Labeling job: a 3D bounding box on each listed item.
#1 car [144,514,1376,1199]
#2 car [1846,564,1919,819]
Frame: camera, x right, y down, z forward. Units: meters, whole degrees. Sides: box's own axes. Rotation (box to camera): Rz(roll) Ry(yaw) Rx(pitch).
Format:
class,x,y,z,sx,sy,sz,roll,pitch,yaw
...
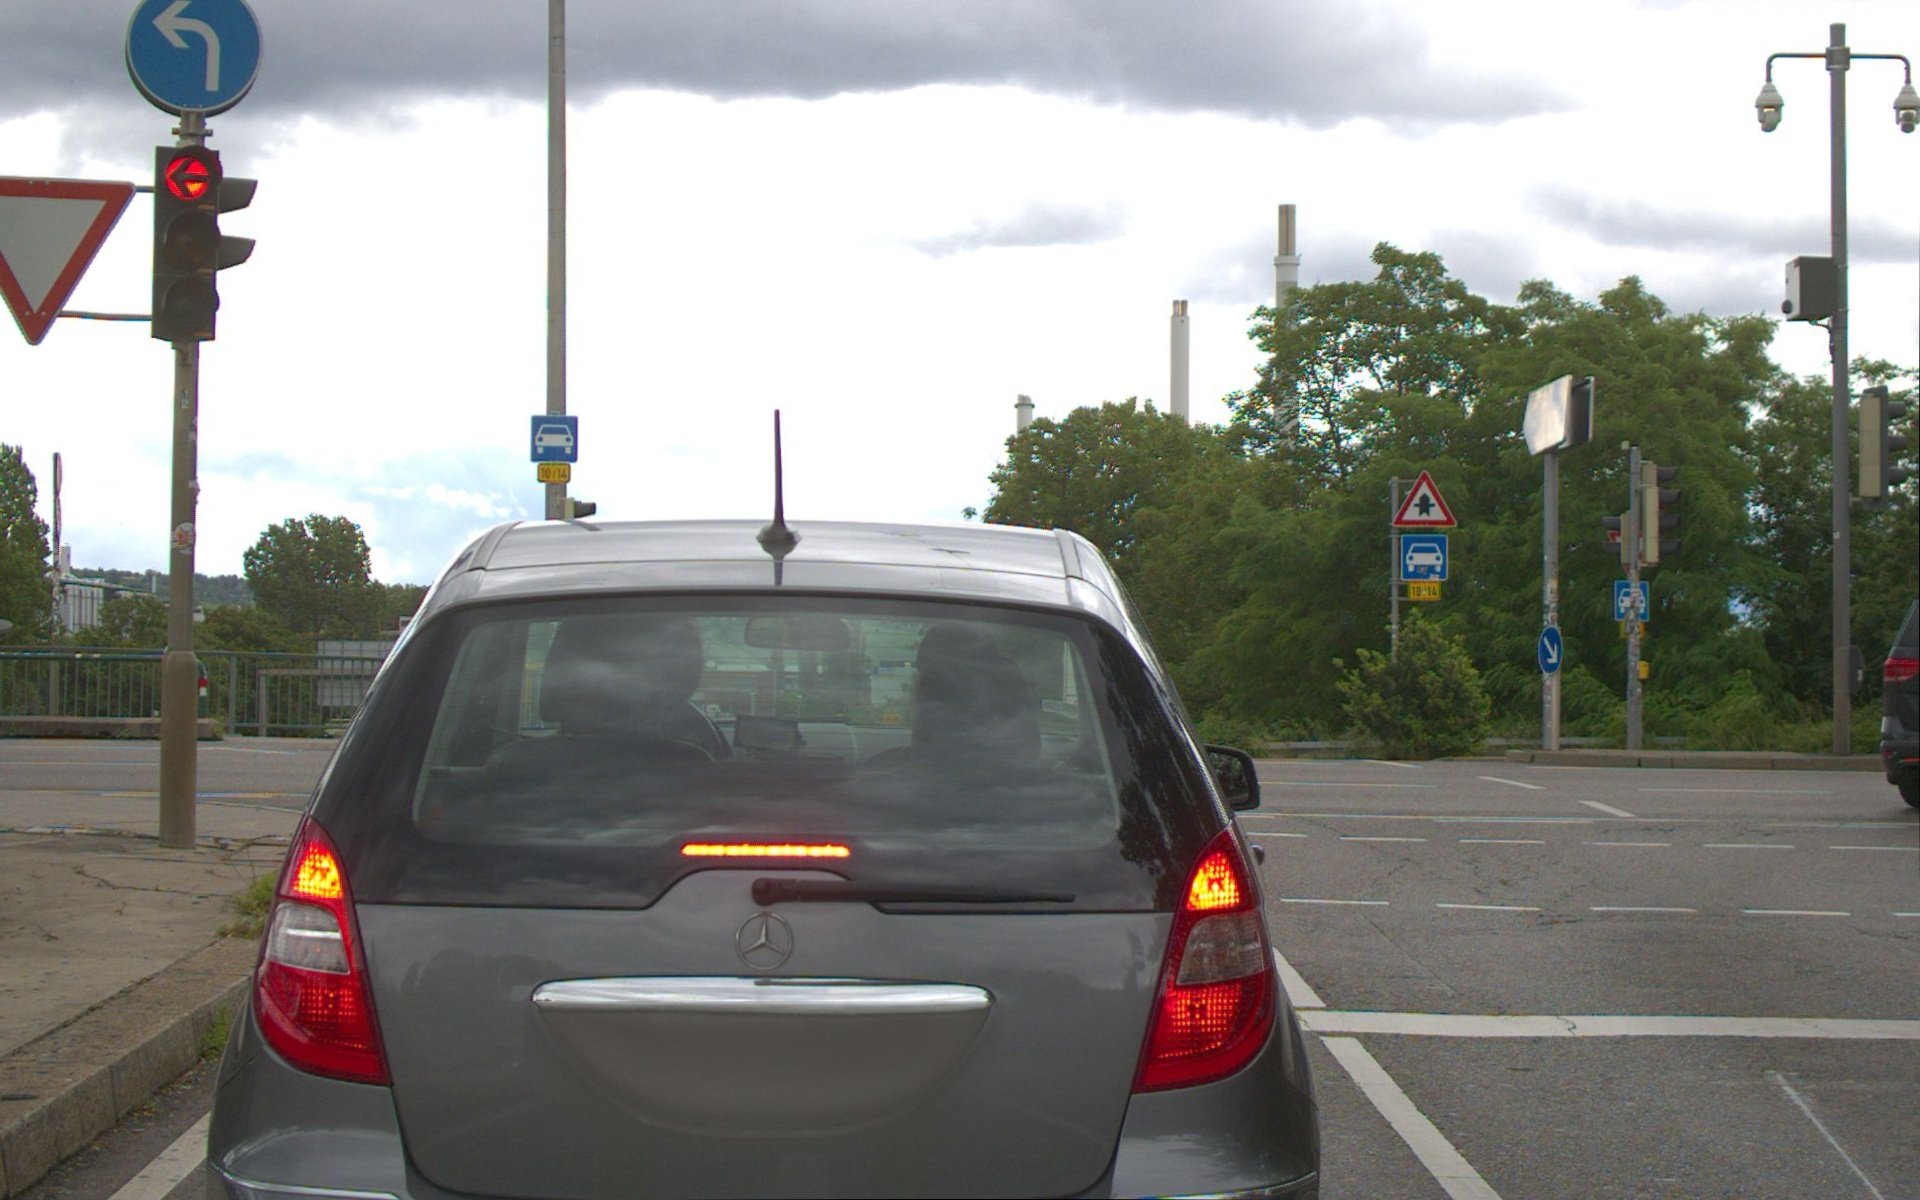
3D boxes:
class,x,y,z,sx,sy,sz,roll,pitch,yaw
car,-0.303,0.640,6.662,1.739,1.538,3.541,1,1,0
car,7.934,0.607,23.446,1.801,1.647,4.139,1,1,45
